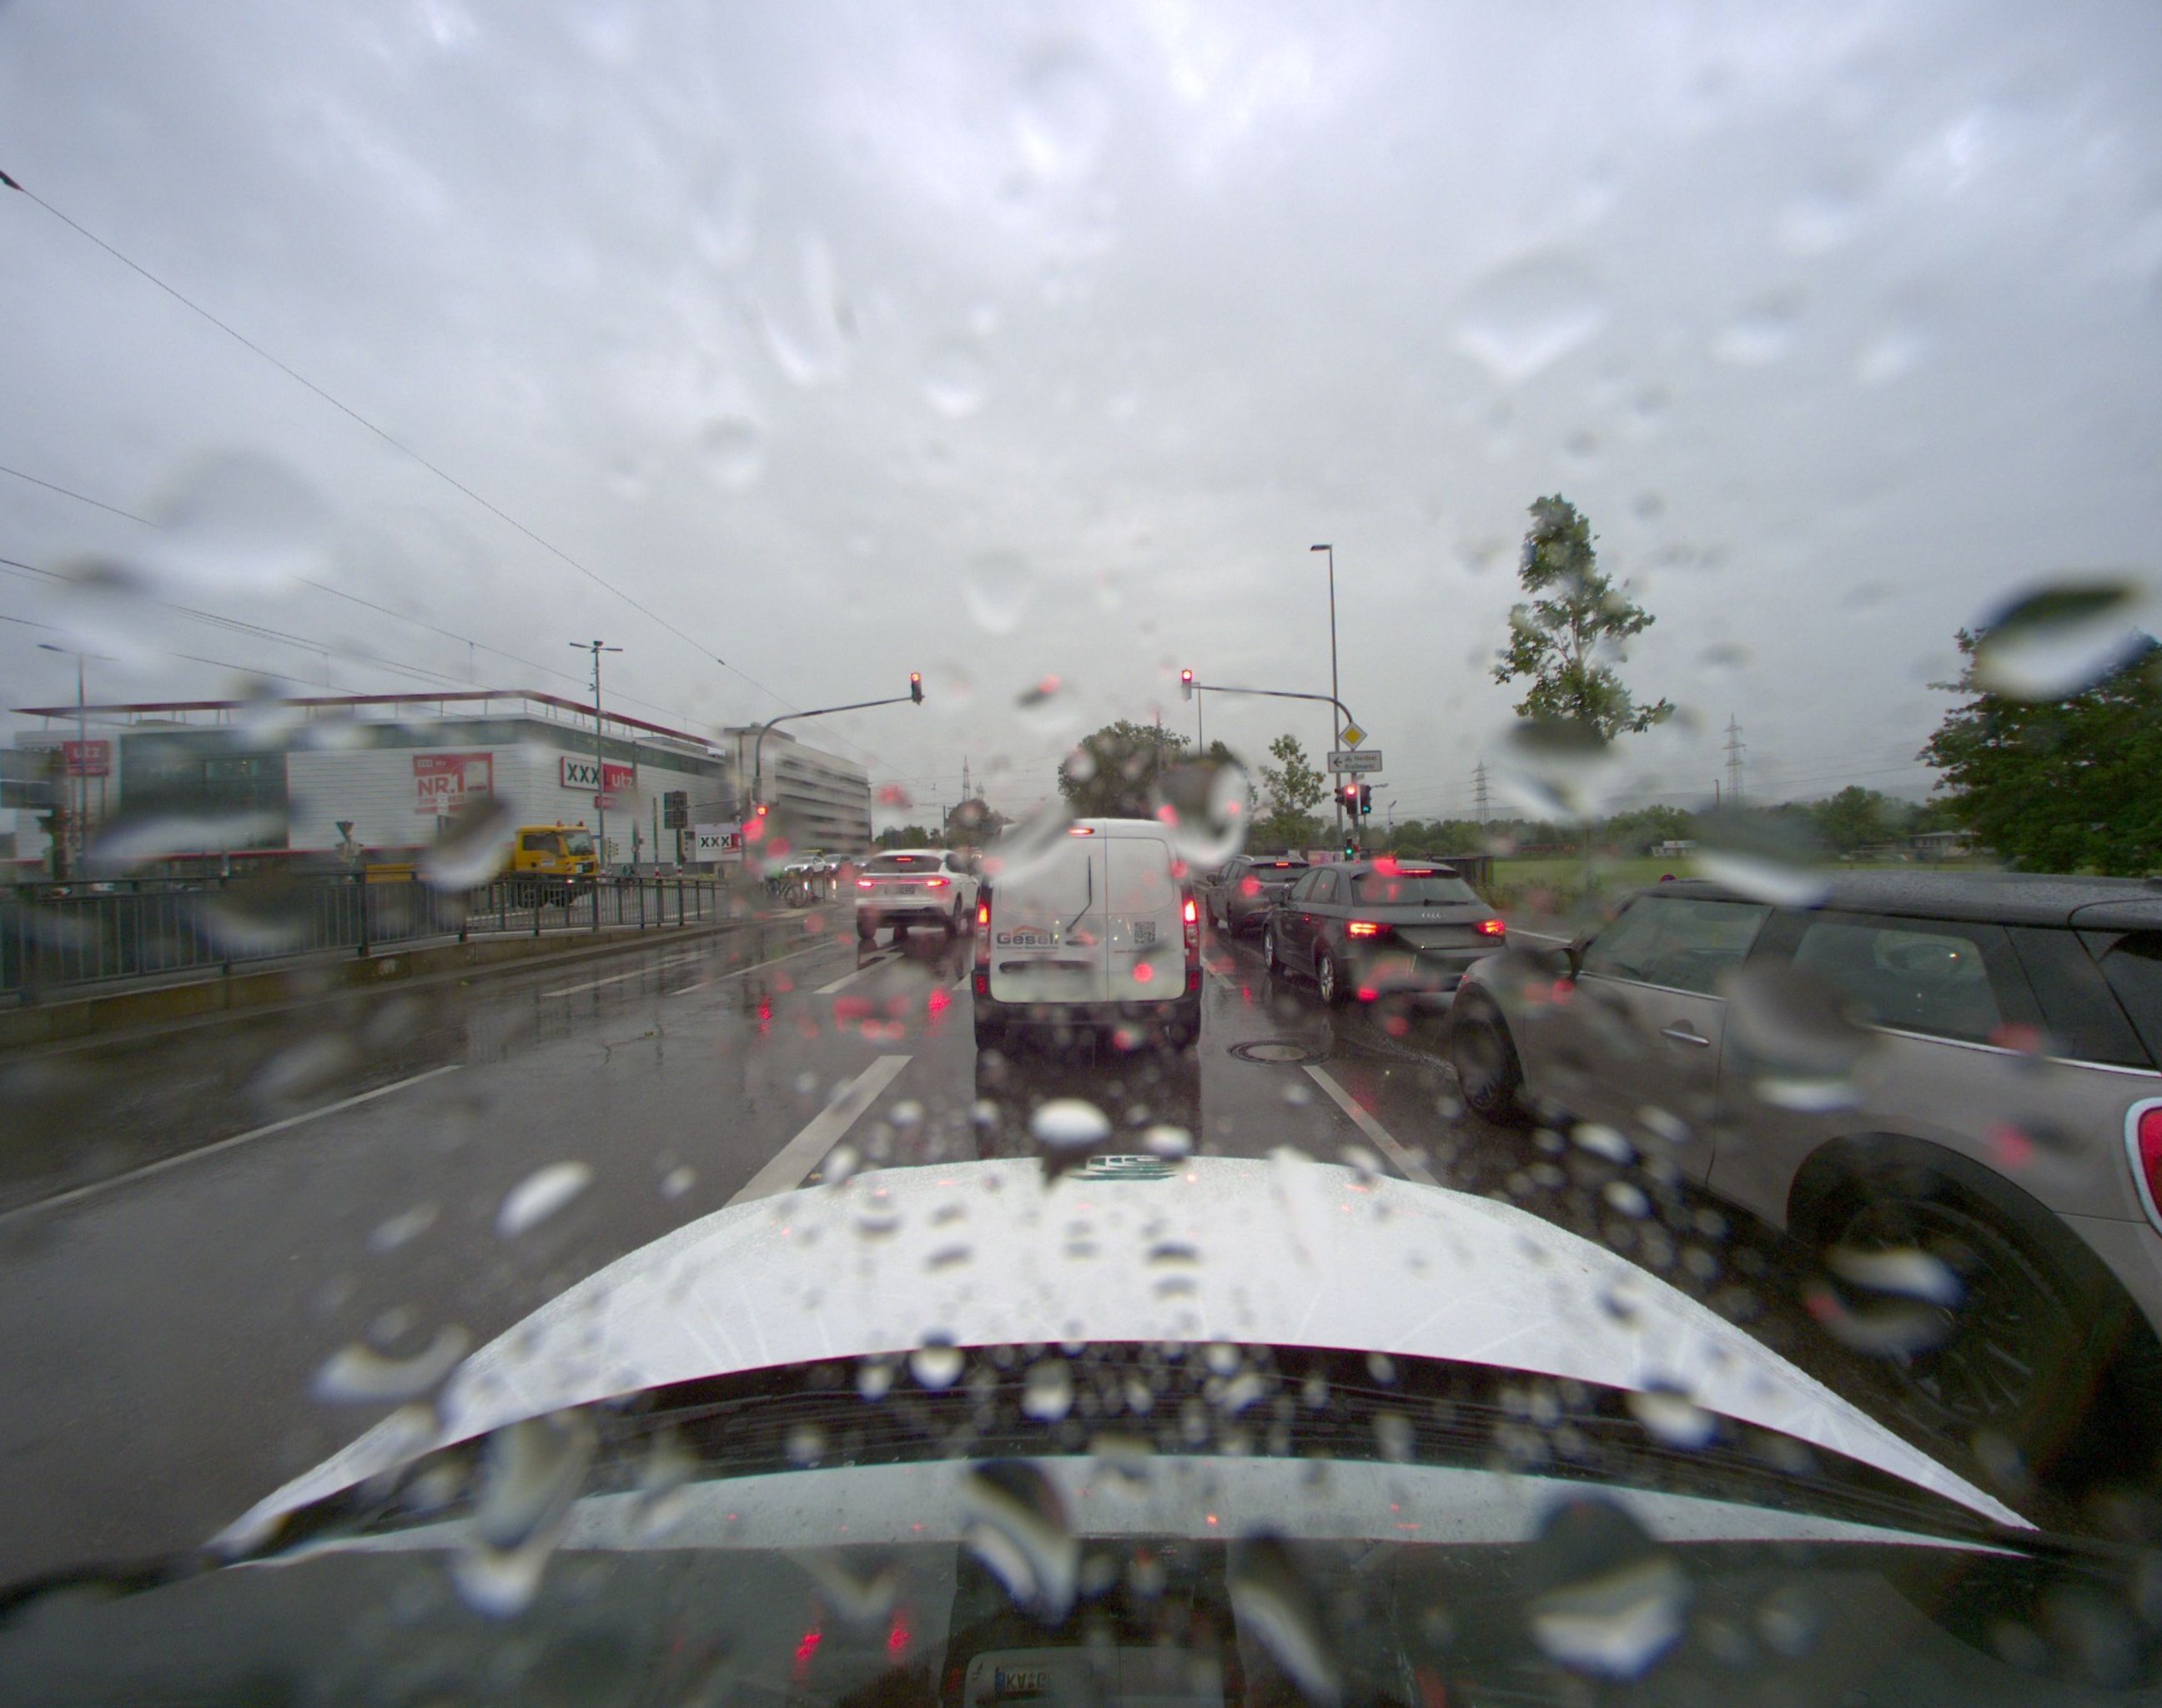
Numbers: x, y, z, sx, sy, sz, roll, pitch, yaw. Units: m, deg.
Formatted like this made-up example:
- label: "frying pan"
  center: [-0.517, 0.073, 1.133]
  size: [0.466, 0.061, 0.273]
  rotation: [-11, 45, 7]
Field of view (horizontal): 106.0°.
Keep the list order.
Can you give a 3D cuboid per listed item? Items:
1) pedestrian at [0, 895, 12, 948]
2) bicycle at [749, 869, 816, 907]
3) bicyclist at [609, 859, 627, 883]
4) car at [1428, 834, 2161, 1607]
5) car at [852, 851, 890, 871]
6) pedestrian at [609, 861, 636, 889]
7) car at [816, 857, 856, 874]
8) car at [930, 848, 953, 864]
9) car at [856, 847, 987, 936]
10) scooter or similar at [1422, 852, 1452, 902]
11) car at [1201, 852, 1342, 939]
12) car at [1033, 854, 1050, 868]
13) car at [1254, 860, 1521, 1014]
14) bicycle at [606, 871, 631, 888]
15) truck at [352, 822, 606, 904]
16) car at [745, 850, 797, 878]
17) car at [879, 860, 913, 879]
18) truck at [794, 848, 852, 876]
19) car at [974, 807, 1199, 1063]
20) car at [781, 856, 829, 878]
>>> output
- label: "pedestrian"
  center: [-32.431, 2.015, 24.051]
  size: [0.561, 1.537, 0.872]
  rotation: [0, -1, 1]
- label: "bicycle"
  center: [-8.725, 0.980, 23.800]
  size: [1.745, 1.034, 0.414]
  rotation: [2, -1, 0]
- label: "bicyclist"
  center: [-28.241, 1.026, 49.699]
  size: [0.681, 1.464, 0.647]
  rotation: [0, -1, 3]
- label: "car"
  center: [2.980, 0.708, 3.224]
  size: [1.707, 1.508, 3.624]
  rotation: [0, 0, 1]
- label: "car"
  center: [-18.278, 0.628, 70.974]
  size: [1.883, 1.699, 4.006]
  rotation: [0, -1, 6]
- label: "pedestrian"
  center: [-26.647, 1.220, 47.341]
  size: [0.912, 1.632, 1.015]
  rotation: [-1, -1, 12]
- label: "car"
  center: [-19.139, 0.894, 63.710]
  size: [1.579, 1.336, 3.837]
  rotation: [0, -1, 6]
- label: "car"
  center: [-17.877, 0.282, 104.698]
  size: [1.985, 2.014, 4.003]
  rotation: [0, -1, 3]
- label: "car"
  center: [-3.038, 0.639, 16.380]
  size: [1.723, 1.535, 4.298]
  rotation: [0, 0, 1]
- label: "scooter or similar"
  center: [8.458, 0.541, 19.352]
  size: [0.244, 1.158, 1.187]
  rotation: [0, -1, 3]
- label: "car"
  center: [3.479, 0.686, 15.577]
  size: [1.853, 1.428, 3.808]
  rotation: [0, 0, 1]
- label: "car"
  center: [-4.329, 0.782, 89.198]
  size: [1.613, 1.503, 3.705]
  rotation: [0, -1, -8]
- label: "car"
  center: [3.080, 0.740, 8.974]
  size: [1.623, 1.344, 3.624]
  rotation: [0, 0, 1]
- label: "bicycle"
  center: [-28.238, 1.566, 49.748]
  size: [0.448, 0.987, 1.710]
  rotation: [0, -1, 3]
- label: "truck"
  center: [-21.998, 0.297, 30.131]
  size: [7.115, 2.816, 2.635]
  rotation: [-1, -1, -7]
- label: "car"
  center: [-23.074, 0.764, 60.708]
  size: [1.983, 2.014, 4.007]
  rotation: [0, -1, 6]
- label: "car"
  center: [-17.668, 1.453, 78.027]
  size: [1.919, 1.827, 4.007]
  rotation: [0, -1, 6]
- label: "truck"
  center: [-22.385, 0.667, 71.178]
  size: [2.342, 2.279, 7.637]
  rotation: [0, 0, 2]
- label: "car"
  center: [0.105, 0.582, 7.755]
  size: [1.560, 1.788, 4.002]
  rotation: [-1, 0, 2]
- label: "car"
  center: [-19.520, 0.917, 57.761]
  size: [1.689, 1.492, 3.884]
  rotation: [-1, -1, 7]
